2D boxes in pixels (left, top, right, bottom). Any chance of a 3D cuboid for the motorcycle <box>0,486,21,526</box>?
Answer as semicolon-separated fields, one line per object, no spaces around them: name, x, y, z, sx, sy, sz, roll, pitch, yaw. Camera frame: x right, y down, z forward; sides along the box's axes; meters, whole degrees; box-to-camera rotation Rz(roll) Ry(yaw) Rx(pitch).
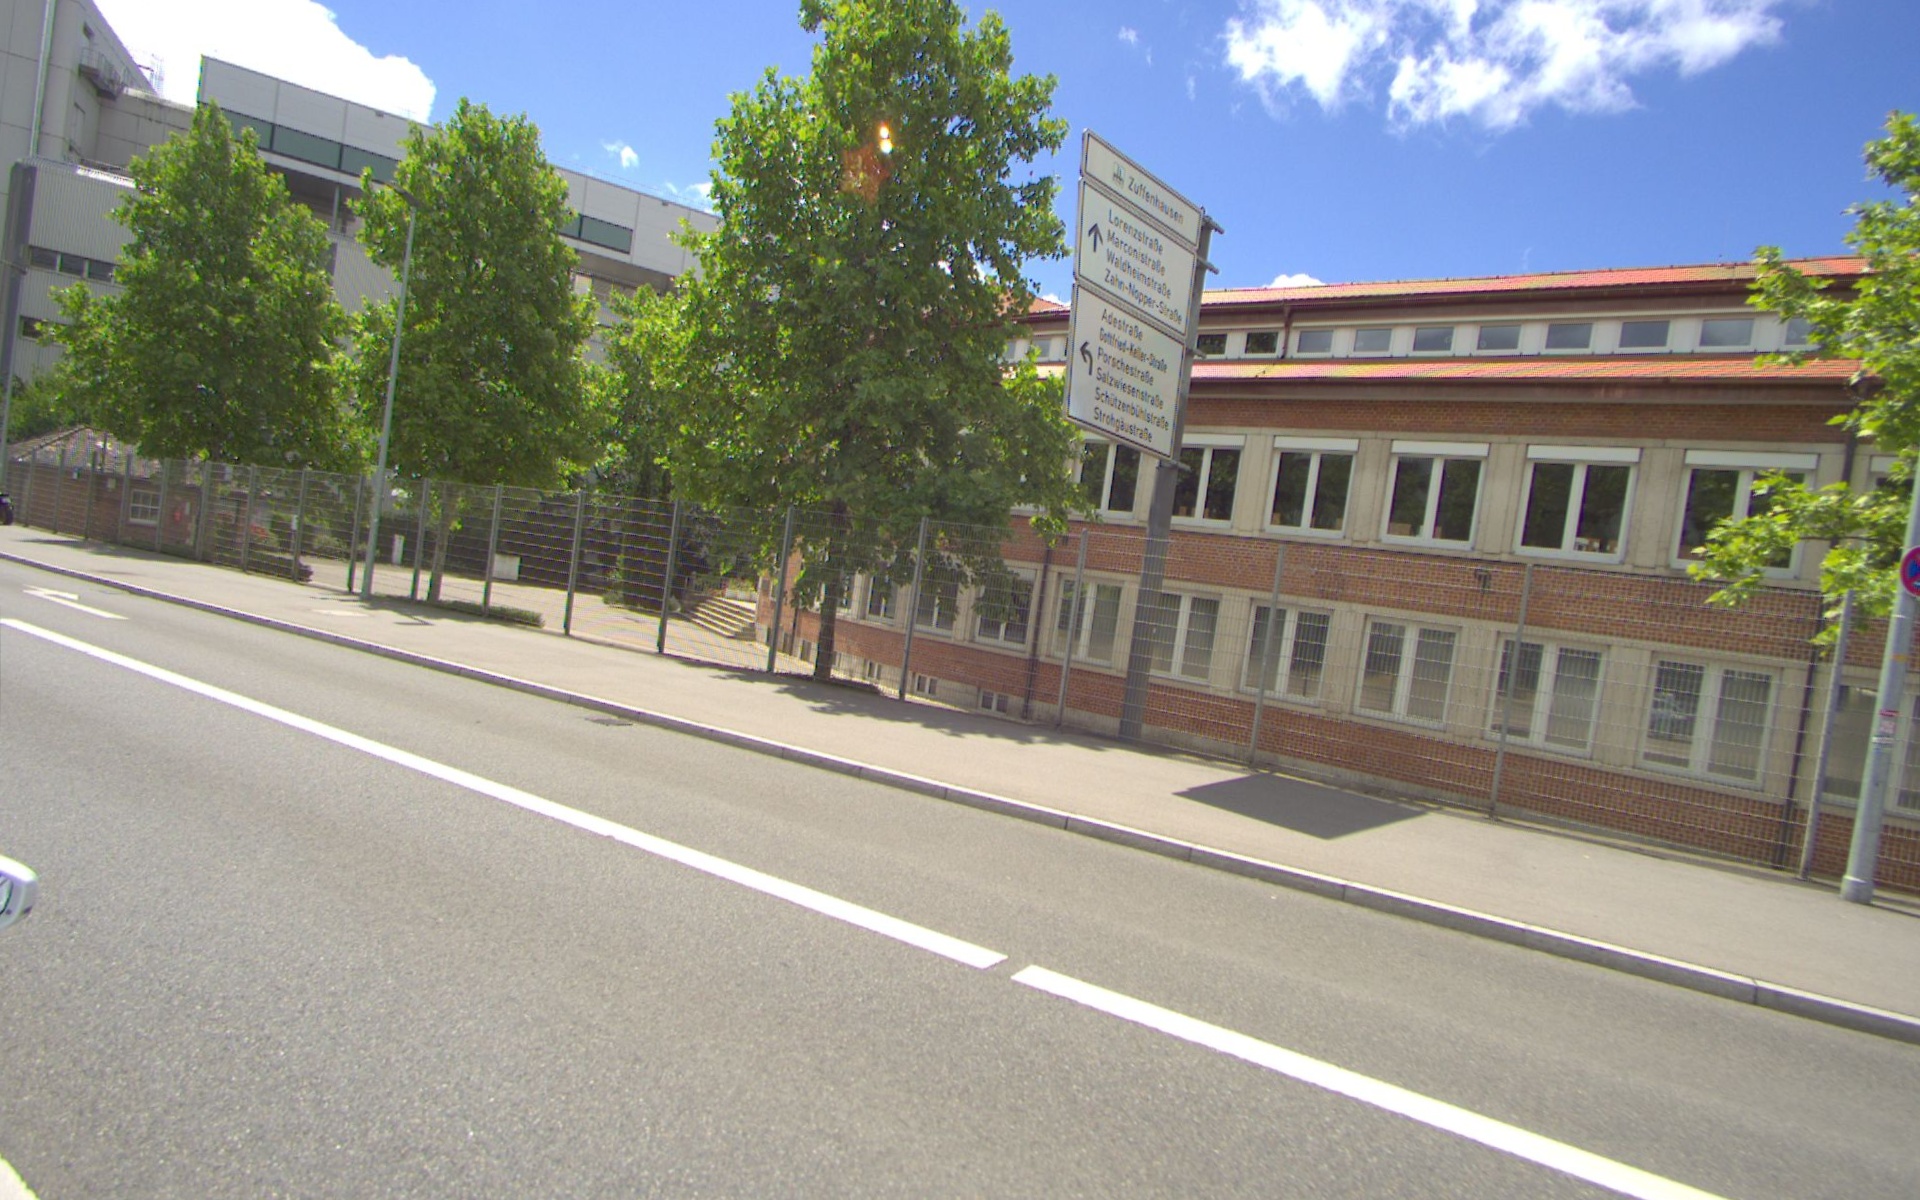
motorcycle;-30.618;-3.028;31.787;2.111;1.173;0.693;7;2;28
